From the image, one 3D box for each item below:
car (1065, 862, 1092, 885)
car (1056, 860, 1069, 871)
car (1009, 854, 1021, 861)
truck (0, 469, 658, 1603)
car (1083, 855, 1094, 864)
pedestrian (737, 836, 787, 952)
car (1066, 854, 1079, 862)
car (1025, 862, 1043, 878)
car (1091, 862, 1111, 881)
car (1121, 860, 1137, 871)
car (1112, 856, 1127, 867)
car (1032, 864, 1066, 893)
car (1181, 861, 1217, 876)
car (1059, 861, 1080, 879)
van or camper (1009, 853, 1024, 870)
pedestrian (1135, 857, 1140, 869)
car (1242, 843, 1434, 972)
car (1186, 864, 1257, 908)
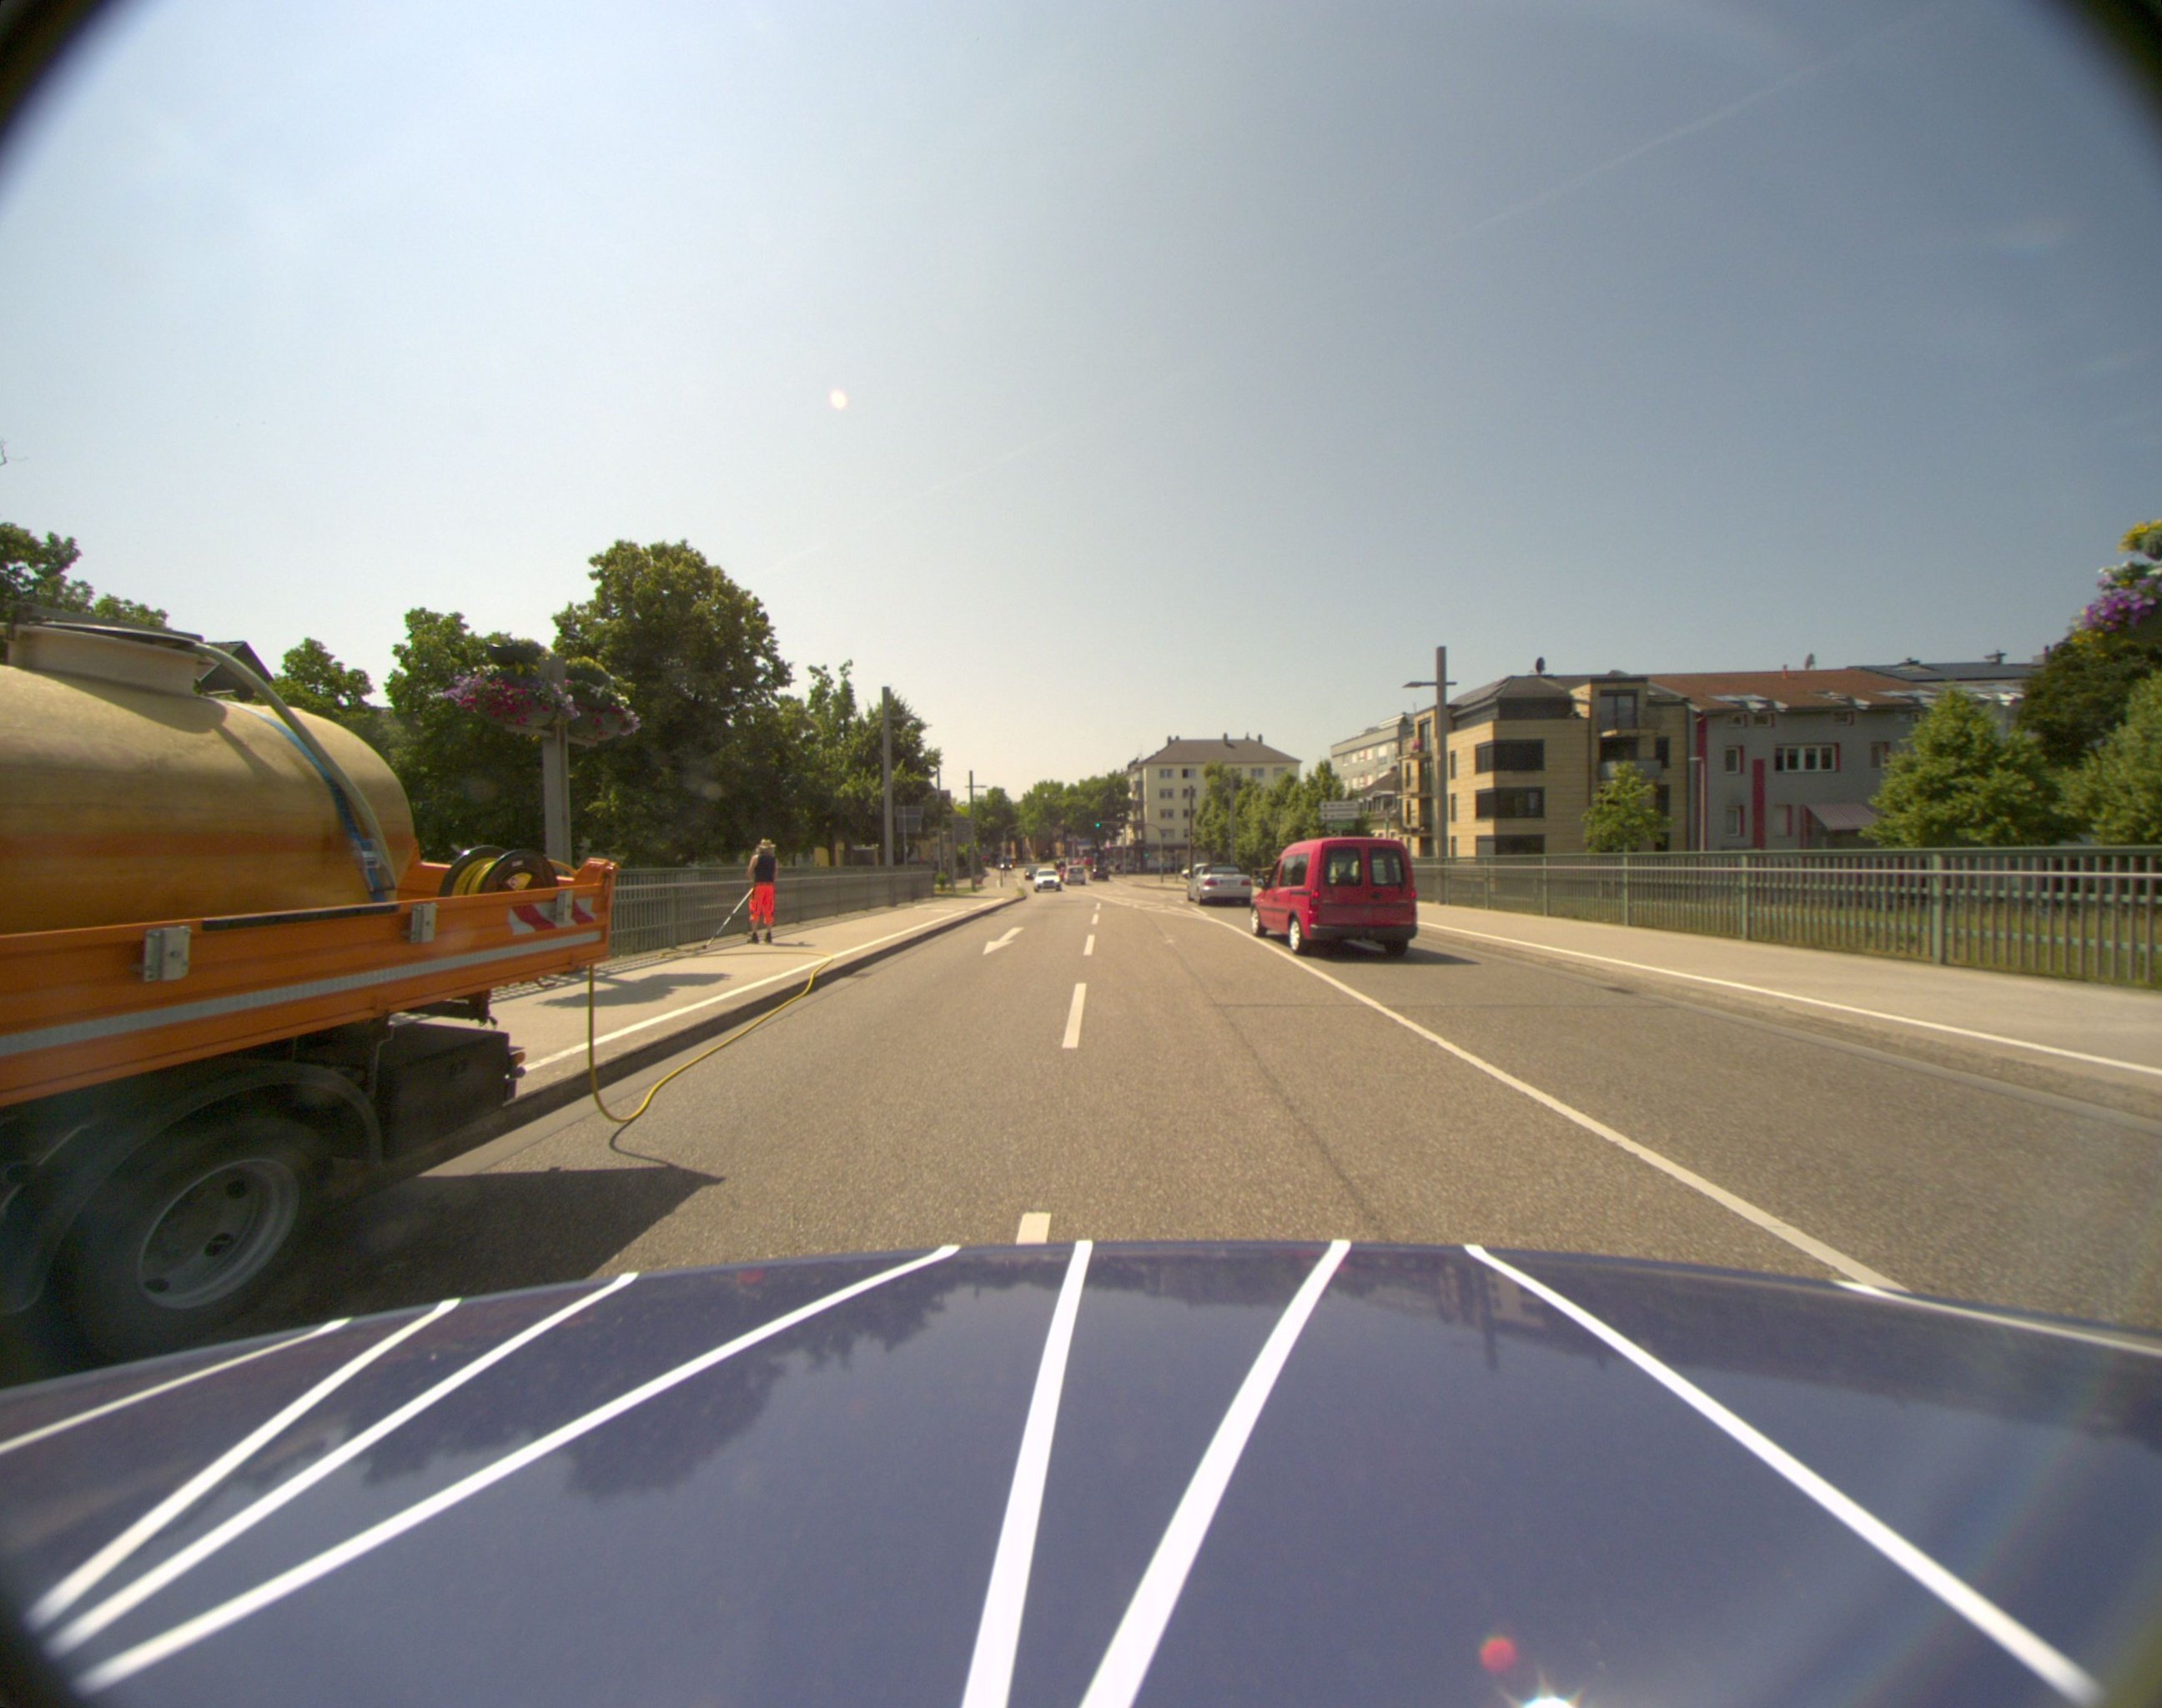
[{"bbox_3d":[-0.265,1.774,70.881,1.842,1.850,4.659,-4,2,-7],"label":"car"},{"bbox_3d":[-2.996,1.847,123.111,1.719,1.477,4.028,-3,2,-5],"label":"car"},{"bbox_3d":[-15.257,0.745,176.110,1.844,1.390,4.044,-2,-1,-20],"label":"car"},{"bbox_3d":[-3.849,0.398,1.395,2.612,2.675,5.823,3,1,2],"label":"truck"},{"bbox_3d":[1.359,0.981,135.117,1.640,1.460,3.632,-1,1,-6],"label":"car"},{"bbox_3d":[-5.498,0.663,13.120,0.548,1.949,0.672,-1,2,-4],"label":"pedestrian"},{"bbox_3d":[-1.800,0.825,156.009,1.914,1.511,4.330,-1,1,-9],"label":"car"},{"bbox_3d":[-5.441,1.840,87.426,1.777,1.480,3.996,-3,2,-8],"label":"car"},{"bbox_3d":[2.155,1.894,81.554,1.742,1.632,3.918,3,3,-3],"label":"car"},{"bbox_3d":[6.919,1.586,109.668,1.587,1.450,3.937,-1,1,-6],"label":"car"},{"bbox_3d":[5.945,1.169,117.654,1.627,1.560,4.836,-1,1,-6],"label":"car"},{"bbox_3d":[-2.354,1.741,55.325,2.000,1.740,4.441,-3,1,-8],"label":"car"},{"bbox_3d":[13.816,1.685,89.181,3.697,1.725,1.892,1,1,-8],"label":"car"},{"bbox_3d":[-1.219,1.657,79.158,1.652,1.456,3.855,1,4,-8],"label":"car"},{"bbox_3d":[-10.955,1.181,128.575,2.165,2.567,5.840,-2,2,-6],"label":"van or camper"},{"bbox_3d":[8.420,1.341,113.141,0.629,1.750,0.742,-1,1,-6],"label":"pedestrian"},{"bbox_3d":[3.991,0.709,12.584,1.740,1.767,4.175,0,1,0],"label":"car"},{"bbox_3d":[4.697,1.022,25.955,1.702,1.350,4.457,1,0,2],"label":"car"}]
